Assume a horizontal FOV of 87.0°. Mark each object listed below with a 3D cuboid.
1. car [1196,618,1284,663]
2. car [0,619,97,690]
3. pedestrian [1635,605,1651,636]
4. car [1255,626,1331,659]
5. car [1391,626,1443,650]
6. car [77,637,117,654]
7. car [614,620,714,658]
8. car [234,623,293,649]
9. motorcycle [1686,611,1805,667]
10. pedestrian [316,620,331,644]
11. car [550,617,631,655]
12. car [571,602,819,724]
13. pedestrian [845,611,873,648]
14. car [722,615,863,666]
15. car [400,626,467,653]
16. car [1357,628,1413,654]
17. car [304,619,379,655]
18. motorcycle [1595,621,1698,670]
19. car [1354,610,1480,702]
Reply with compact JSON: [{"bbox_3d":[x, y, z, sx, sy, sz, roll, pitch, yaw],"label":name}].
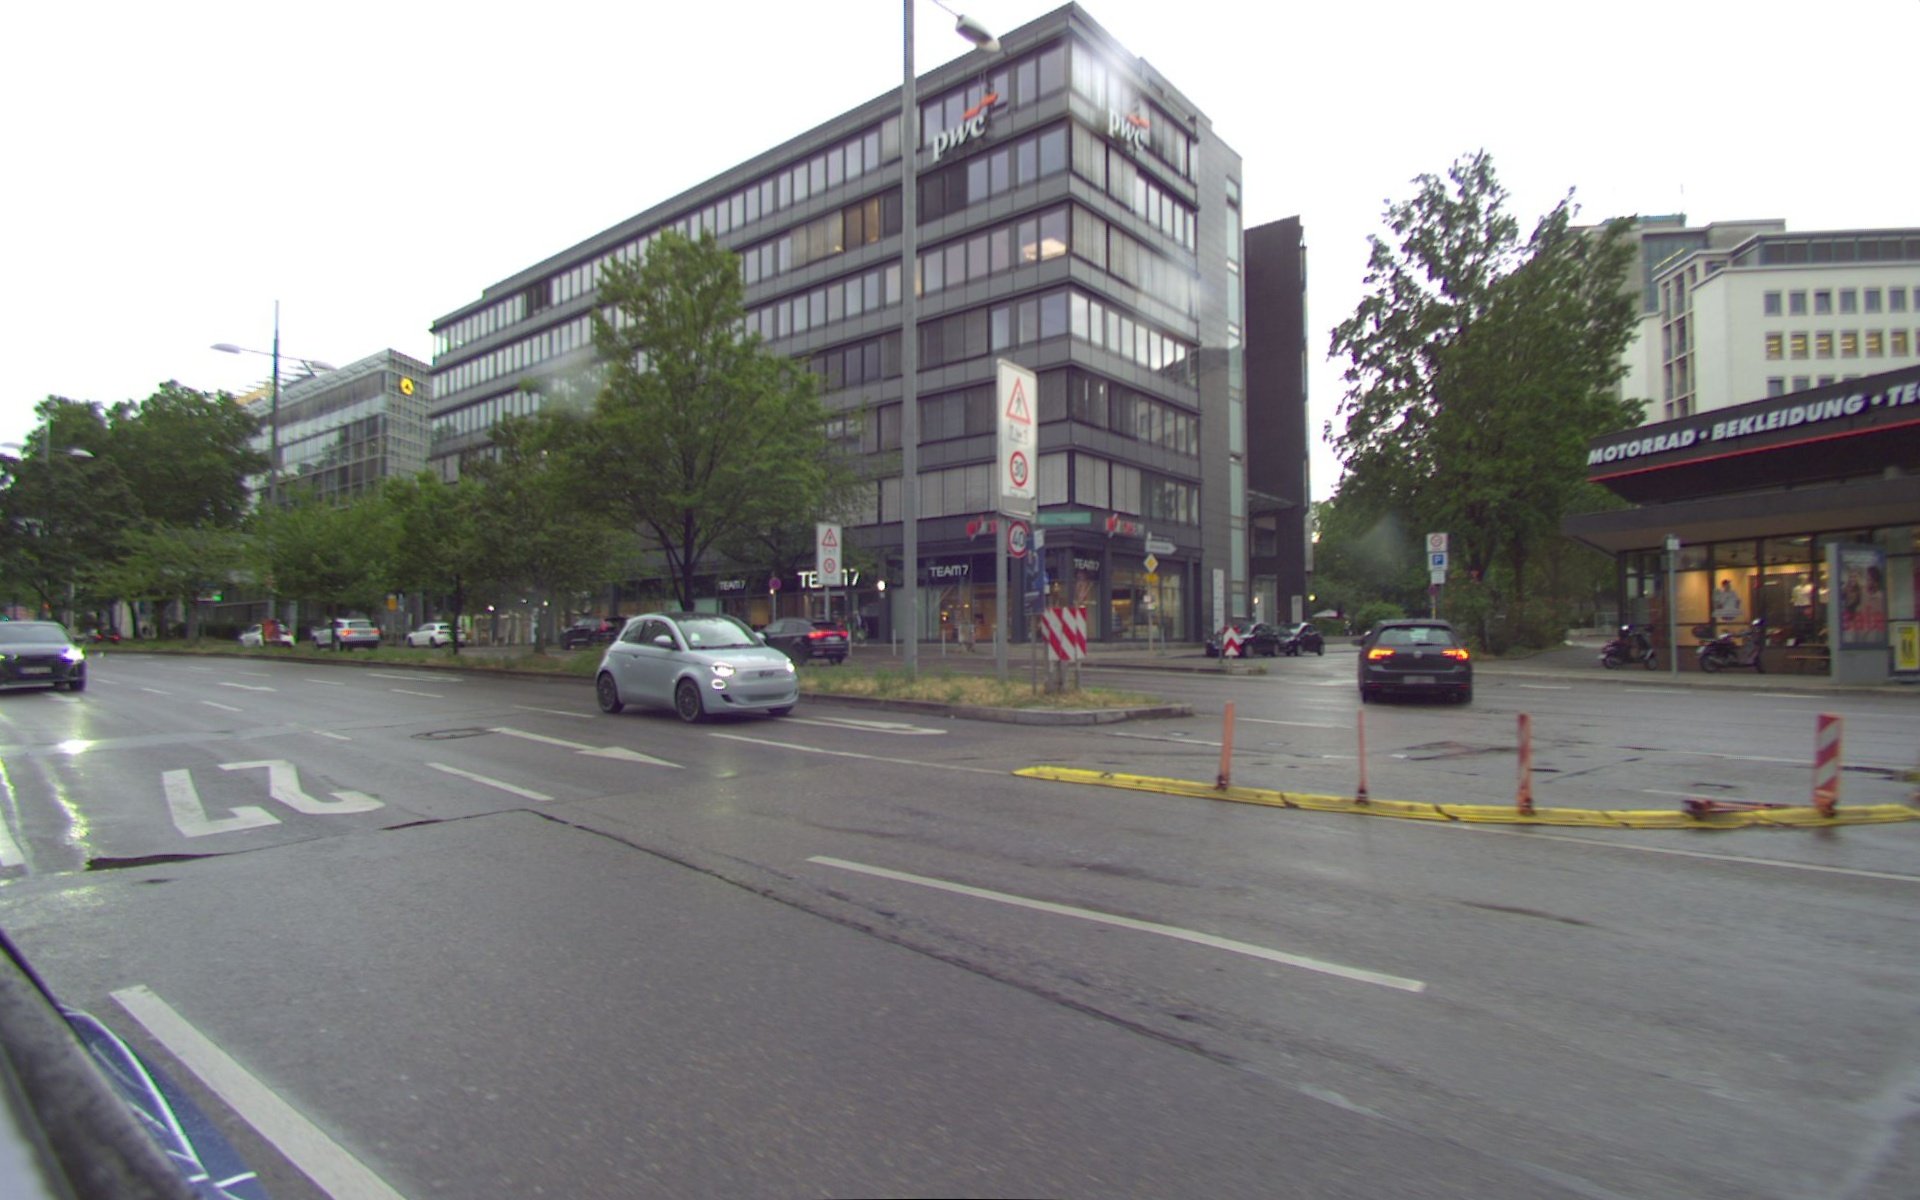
[{"bbox_3d":[11.374,1.602,41.004,1.998,1.652,3.947,-1,-1,39],"label":"car"},{"bbox_3d":[-20.931,1.168,22.595,4.285,1.446,1.916,-2,-2,41],"label":"car"},{"bbox_3d":[43.890,1.308,65.018,0.729,1.937,0.912,-2,-2,40],"label":"pedestrian"},{"bbox_3d":[14.674,1.838,44.447,1.846,1.298,3.947,-1,-1,40],"label":"car"},{"bbox_3d":[27.319,2.248,60.472,1.846,1.298,3.946,-1,-1,40],"label":"car"},{"bbox_3d":[-75.578,3.958,88.616,4.295,1.487,1.792,-2,-2,38],"label":"car"},{"bbox_3d":[-13.010,1.690,44.332,4.769,1.496,1.791,-1,1,40],"label":"car"},{"bbox_3d":[-39.857,2.038,57.880,4.078,1.442,1.666,-2,-2,38],"label":"car"},{"bbox_3d":[20.413,1.003,26.313,2.844,1.384,0.806,0,-1,-13],"label":"motorcycle"},{"bbox_3d":[-50.146,2.486,79.720,0.924,1.846,0.720,-1,-1,40],"label":"pedestrian"},{"bbox_3d":[-17.682,1.691,48.320,4.308,1.673,1.790,-1,-1,41],"label":"car"},{"bbox_3d":[-3.999,0.873,15.036,3.687,1.585,1.766,-2,-2,40],"label":"car"},{"bbox_3d":[-4.489,1.312,45.025,0.965,1.650,0.776,-2,-2,39],"label":"pedestrian"},{"bbox_3d":[-5.506,1.301,33.017,4.473,1.556,1.976,-1,-2,36],"label":"car"},{"bbox_3d":[-30.552,2.255,58.674,4.302,1.455,1.792,-2,-1,37],"label":"car"},{"bbox_3d":[23.637,2.255,56.255,1.845,1.298,3.948,-1,-1,39],"label":"car"},{"bbox_3d":[-31.598,1.875,51.659,4.486,1.741,1.721,-2,-1,37],"label":"car"},{"bbox_3d":[19.848,1.300,29.273,2.774,1.343,0.725,-1,-1,-12],"label":"motorcycle"},{"bbox_3d":[8.259,0.937,18.623,1.832,1.462,4.654,-1,-1,22],"label":"car"}]
